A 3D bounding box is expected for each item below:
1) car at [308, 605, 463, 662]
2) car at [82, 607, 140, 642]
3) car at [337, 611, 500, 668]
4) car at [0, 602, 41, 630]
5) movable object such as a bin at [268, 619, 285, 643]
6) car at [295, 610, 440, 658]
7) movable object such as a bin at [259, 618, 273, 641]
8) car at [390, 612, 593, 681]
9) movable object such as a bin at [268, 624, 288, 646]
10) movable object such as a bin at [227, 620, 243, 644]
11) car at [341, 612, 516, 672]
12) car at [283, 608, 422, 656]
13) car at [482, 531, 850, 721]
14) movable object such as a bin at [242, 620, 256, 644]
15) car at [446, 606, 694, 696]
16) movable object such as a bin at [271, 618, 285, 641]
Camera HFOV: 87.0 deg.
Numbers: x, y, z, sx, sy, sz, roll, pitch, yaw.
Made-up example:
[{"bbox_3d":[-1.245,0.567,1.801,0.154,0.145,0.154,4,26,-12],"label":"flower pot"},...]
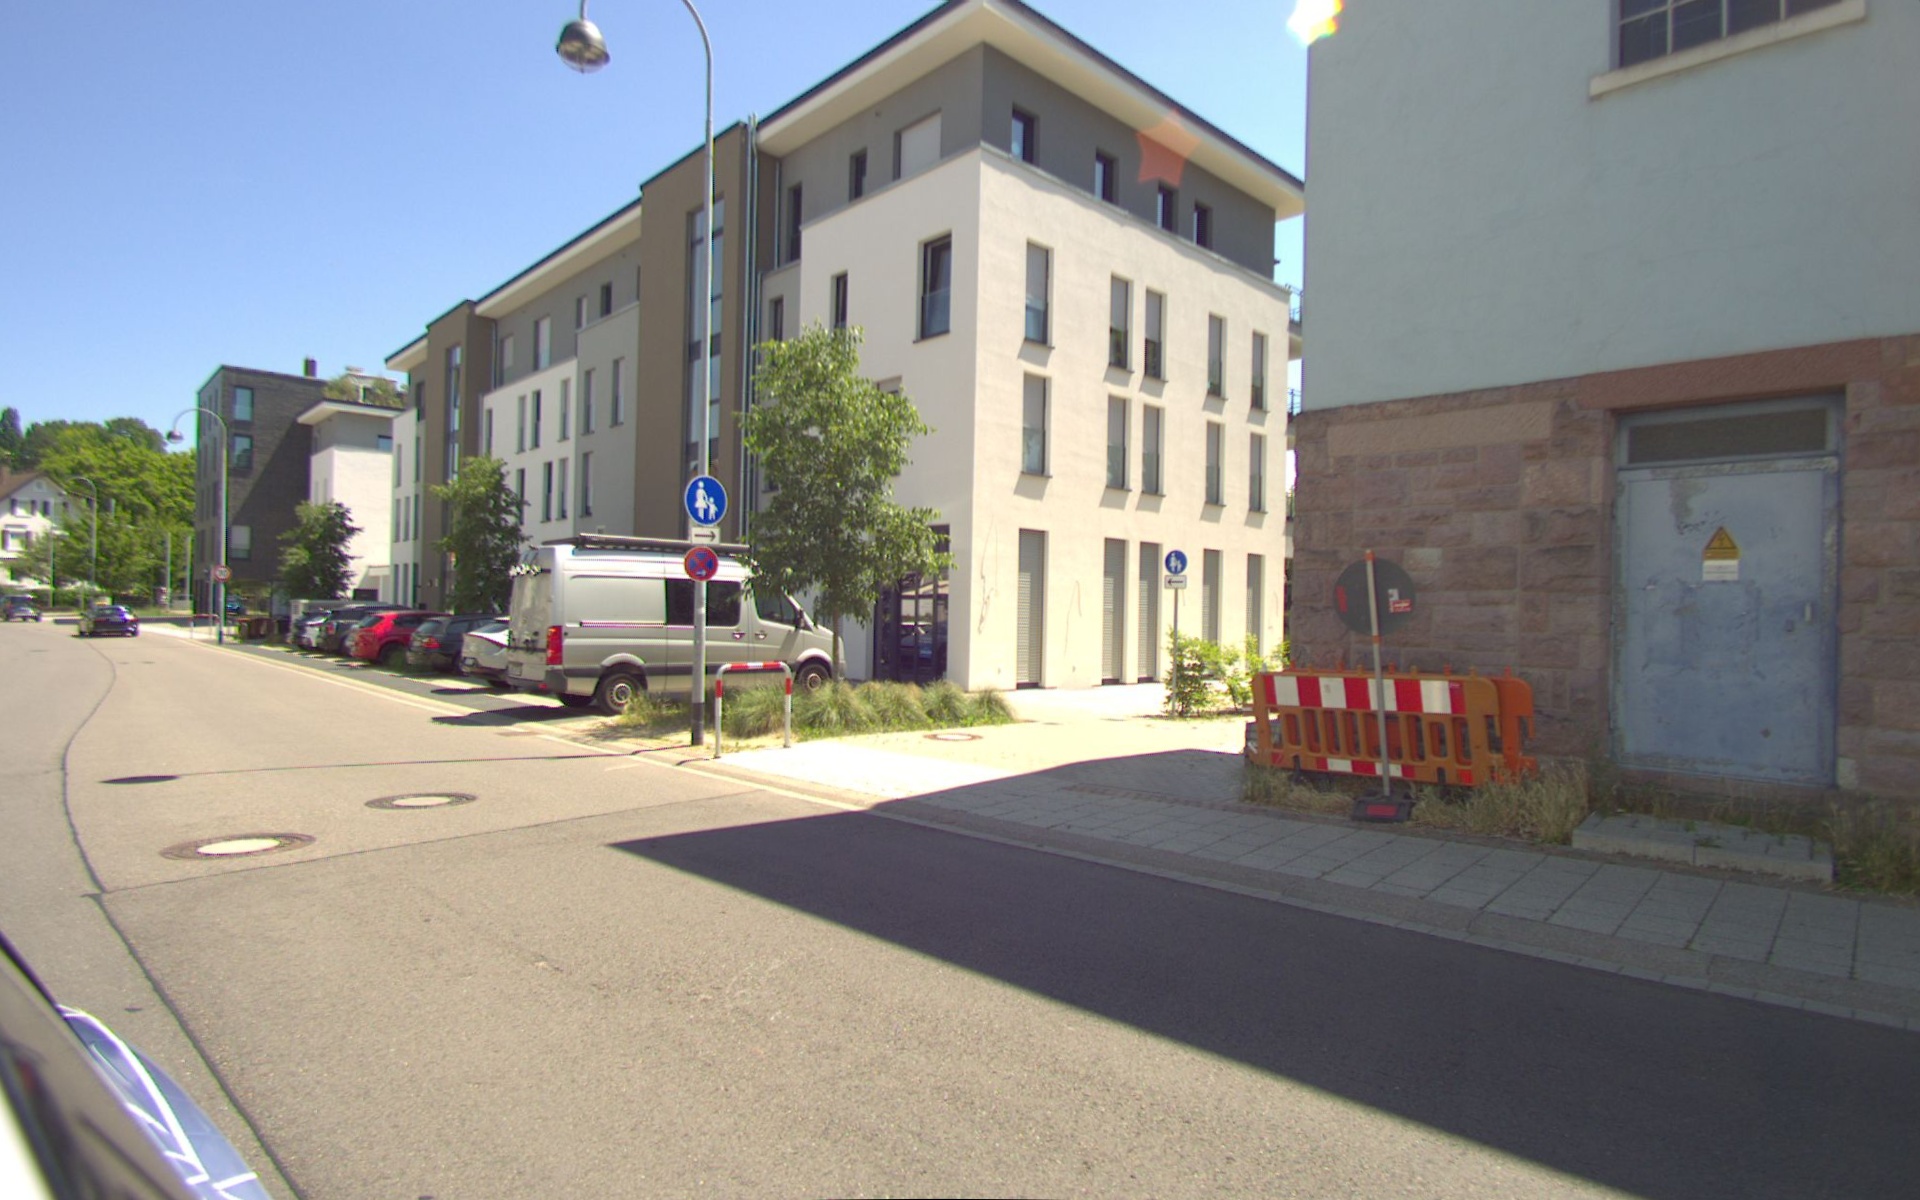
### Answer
[{"bbox_3d":[-18.233,1.006,32.179,3.983,1.663,2.003,-1,1,-41],"label":"car"},{"bbox_3d":[-40.029,1.122,47.669,1.871,1.565,4.803,0,-1,-43],"label":"car"},{"bbox_3d":[-16.239,1.128,30.421,3.983,1.508,2.003,-1,1,-41],"label":"car"},{"bbox_3d":[-58.992,0.983,62.987,4.065,1.714,1.795,-1,-1,34],"label":"car"},{"bbox_3d":[-28.584,1.295,42.325,0.547,1.005,0.428,1,-1,-42],"label":"movable object such as a bin"},{"bbox_3d":[-19.992,1.102,34.220,3.939,1.432,1.912,-1,1,-43],"label":"car"},{"bbox_3d":[-30.596,1.282,44.605,0.398,1.005,0.556,1,-1,-45],"label":"movable object such as a bin"},{"bbox_3d":[-11.444,1.065,24.911,1.886,1.448,4.154,0,1,42],"label":"car"},{"bbox_3d":[-28.220,1.457,41.883,0.480,0.874,0.550,0,-1,29],"label":"movable object such as a bin"},{"bbox_3d":[-31.359,1.391,43.788,0.477,1.005,0.588,1,-1,-45],"label":"movable object such as a bin"},{"bbox_3d":[-14.780,1.114,28.222,3.983,1.441,2.003,-1,1,-41],"label":"car"},{"bbox_3d":[-21.474,1.075,35.851,3.939,1.527,2.003,-1,1,-42],"label":"car"},{"bbox_3d":[-4.876,0.355,17.480,5.698,2.753,2.294,-1,1,-43],"label":"car"},{"bbox_3d":[-31.031,1.398,44.177,0.398,1.005,0.556,1,-1,-45],"label":"movable object such as a bin"},{"bbox_3d":[-8.012,0.954,21.024,4.401,1.603,2.002,-1,1,-44],"label":"car"},{"bbox_3d":[-30.284,1.312,44.924,0.398,1.005,0.556,1,-1,-45],"label":"movable object such as a bin"}]
